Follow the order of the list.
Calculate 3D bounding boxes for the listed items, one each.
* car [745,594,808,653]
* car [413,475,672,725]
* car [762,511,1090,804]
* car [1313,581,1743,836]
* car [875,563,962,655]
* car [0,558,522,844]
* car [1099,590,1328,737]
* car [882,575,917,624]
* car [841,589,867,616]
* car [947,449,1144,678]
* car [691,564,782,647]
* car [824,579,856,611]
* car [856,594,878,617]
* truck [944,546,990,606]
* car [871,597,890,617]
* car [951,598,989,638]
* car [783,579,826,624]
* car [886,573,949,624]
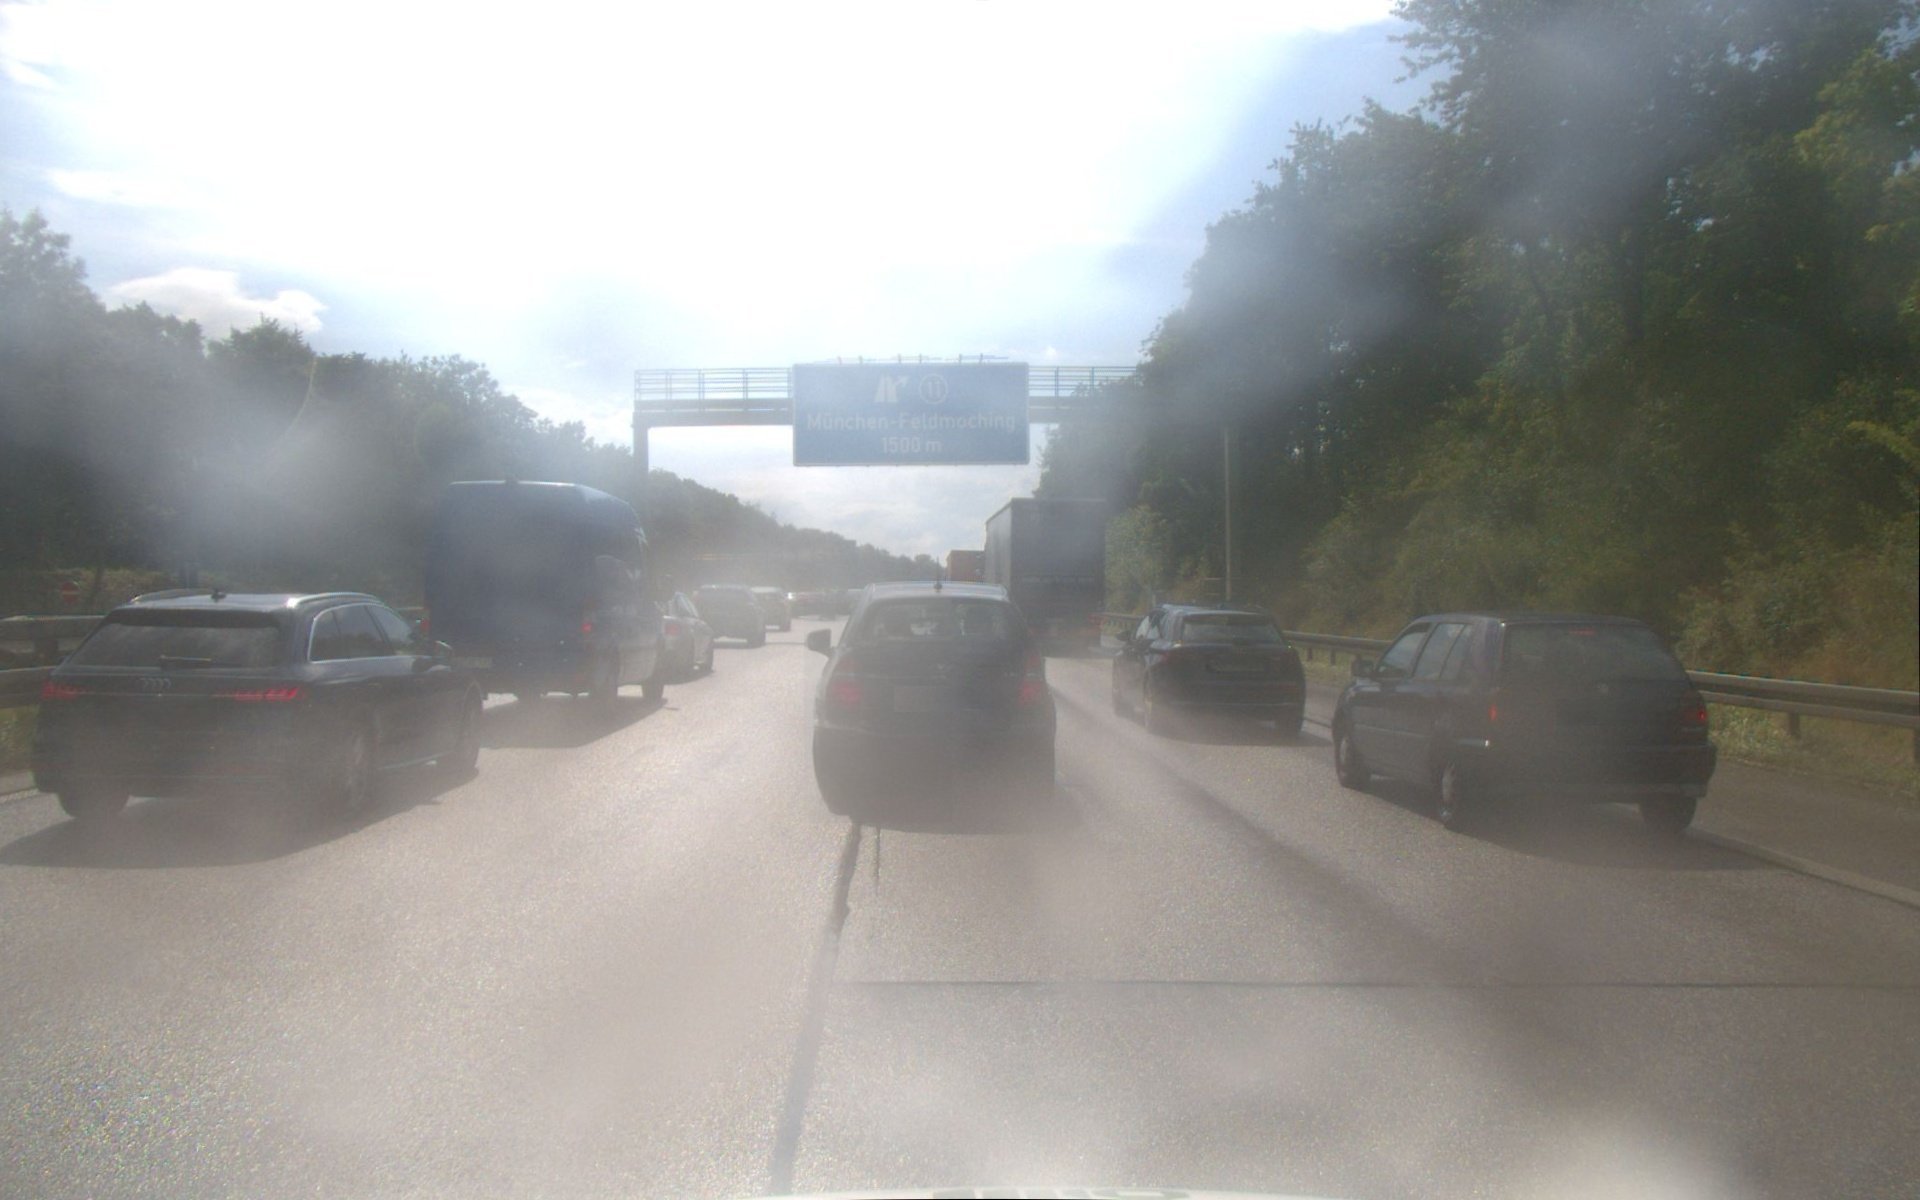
[{"bbox_3d":[-6.984,0.871,63.409,1.953,2.152,4.887,1,0,-2],"label":"car"},{"bbox_3d":[-4.952,0.008,20.466,1.953,2.661,5.257,1,0,-2],"label":"car"},{"bbox_3d":[-0.370,0.408,13.799,2.229,1.989,4.818,1,0,-4],"label":"car"},{"bbox_3d":[3.918,0.673,12.131,1.559,1.542,3.973,1,0,-4],"label":"car"},{"bbox_3d":[-0.937,0.192,35.318,1.659,1.836,3.973,1,0,-4],"label":"car"},{"bbox_3d":[-4.682,0.582,11.772,1.953,1.592,4.755,1,0,-2],"label":"car"},{"bbox_3d":[2.868,0.685,19.592,1.828,1.542,3.972,1,0,-4],"label":"car"},{"bbox_3d":[-3.505,-0.018,97.237,1.953,2.794,5.257,1,0,-2],"label":"car"},{"bbox_3d":[-8.881,0.208,139.172,1.953,2.152,4.887,1,0,-2],"label":"car"},{"bbox_3d":[2.193,-0.930,51.781,4.316,5.932,16.807,1,0,-3],"label":"car"},{"bbox_3d":[-6.112,0.151,45.745,1.953,2.152,4.887,1,0,-2],"label":"car"},{"bbox_3d":[-8.324,-0.340,114.642,1.953,2.152,4.887,1,0,-2],"label":"car"},{"bbox_3d":[-9.107,0.568,162.699,1.953,2.152,4.887,1,0,-2],"label":"car"},{"bbox_3d":[0.436,-1.506,106.915,2.719,3.695,5.915,1,0,-2],"label":"truck"},{"bbox_3d":[-8.834,0.803,183.734,1.953,2.152,4.887,1,0,-2],"label":"car"},{"bbox_3d":[0.515,0.996,93.143,1.953,2.152,4.887,1,0,-2],"label":"car"},{"bbox_3d":[-8.660,0.086,92.506,1.953,2.427,5.257,1,0,-2],"label":"car"},{"bbox_3d":[-1.408,-0.036,53.276,1.828,1.542,3.972,1,0,-4],"label":"car"}]
